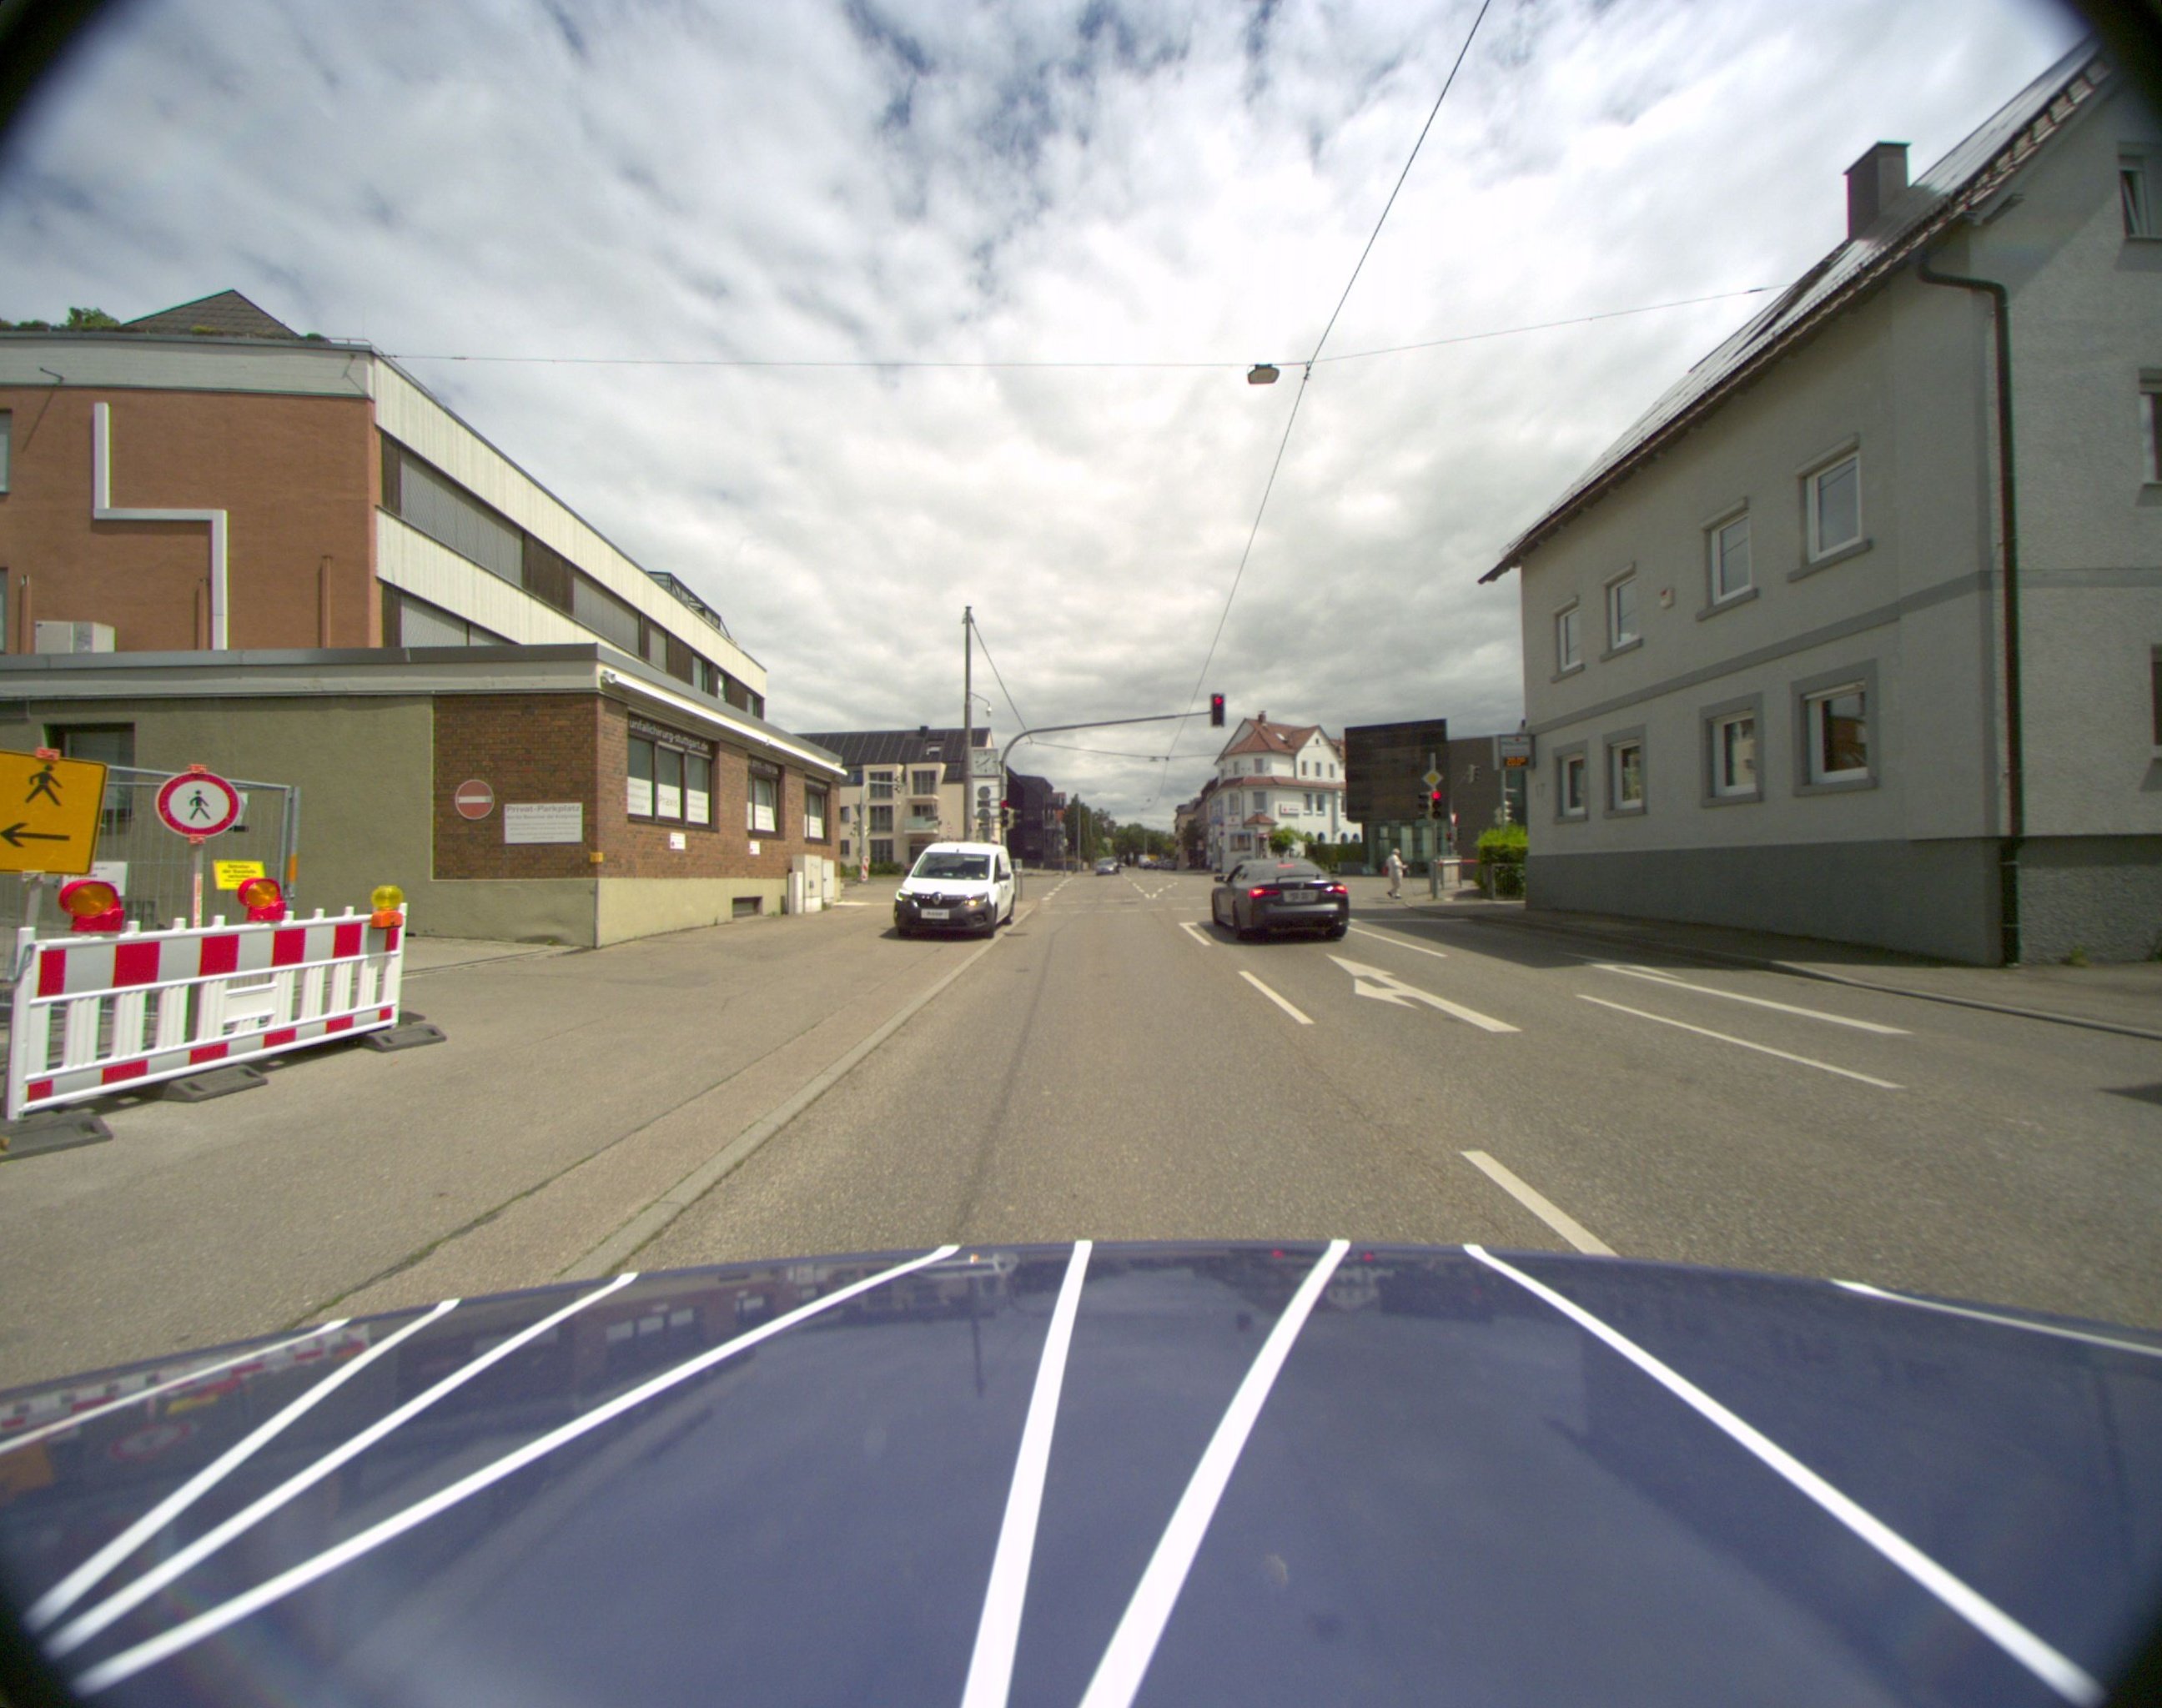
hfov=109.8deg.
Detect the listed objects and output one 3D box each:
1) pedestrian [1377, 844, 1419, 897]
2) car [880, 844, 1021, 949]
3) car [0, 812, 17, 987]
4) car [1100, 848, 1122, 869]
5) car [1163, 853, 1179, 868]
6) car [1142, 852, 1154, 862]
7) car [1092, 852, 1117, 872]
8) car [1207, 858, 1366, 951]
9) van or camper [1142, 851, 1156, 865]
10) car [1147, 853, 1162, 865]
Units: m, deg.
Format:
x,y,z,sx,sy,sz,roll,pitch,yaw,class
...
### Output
x,y,z,sx,sy,sz,roll,pitch,yaw,class
9.905,0.502,23.732,0.874,1.628,0.835,-1,0,-13,pedestrian
-2.446,0.721,15.427,1.915,1.784,4.491,1,1,2,car
-12.447,0.384,6.312,3.780,1.768,1.915,3,0,-16,car
2.922,0.409,73.813,1.998,2.002,4.001,-1,0,4,car
12.882,0.895,108.873,1.998,2.002,4.000,0,0,2,car
11.639,0.515,132.130,1.820,1.801,4.420,0,-1,2,car
2.149,0.704,67.877,1.998,1.674,4.001,0,0,4,car
3.680,0.822,14.539,1.998,1.448,4.618,0,0,3,car
13.536,0.844,151.979,2.113,2.571,5.645,2,-1,-1,van or camper
10.244,0.668,106.451,1.998,1.521,4.001,2,0,5,car
